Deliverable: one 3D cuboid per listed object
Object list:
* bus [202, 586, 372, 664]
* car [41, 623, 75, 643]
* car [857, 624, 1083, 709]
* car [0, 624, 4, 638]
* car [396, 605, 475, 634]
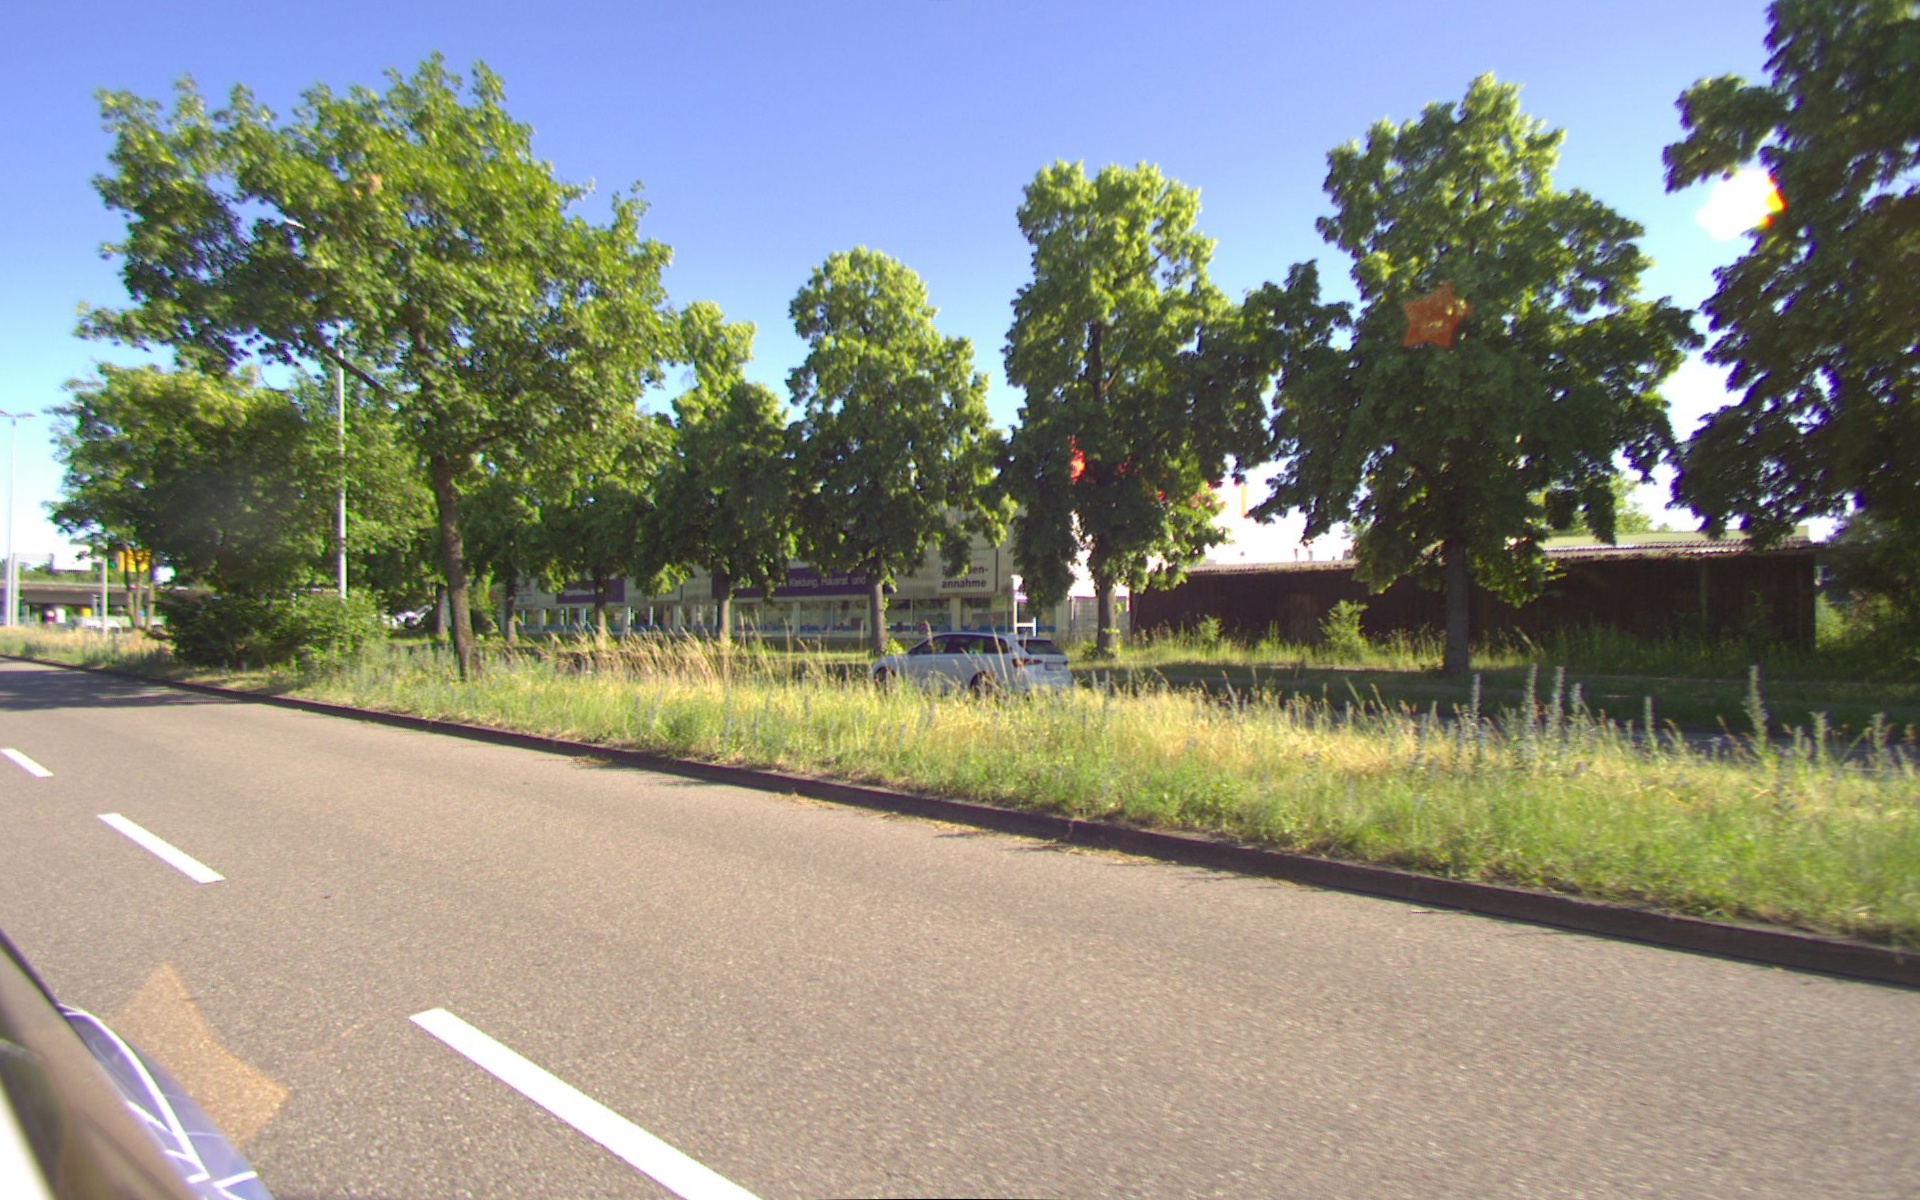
[{"bbox_3d":[-27.371,1.056,40.833,11.080,2.742,2.693,-2,-5,41],"label":"bus"},{"bbox_3d":[-82.560,2.983,92.612,4.162,1.760,1.689,-1,-2,40],"label":"car"},{"bbox_3d":[0.120,1.302,20.447,4.527,1.532,1.737,-2,-5,41],"label":"car"},{"bbox_3d":[-113.286,3.606,118.139,4.627,1.710,1.922,-2,-4,41],"label":"car"},{"bbox_3d":[-46.286,1.727,89.377,2.203,2.452,5.822,-1,-3,37],"label":"car"}]
